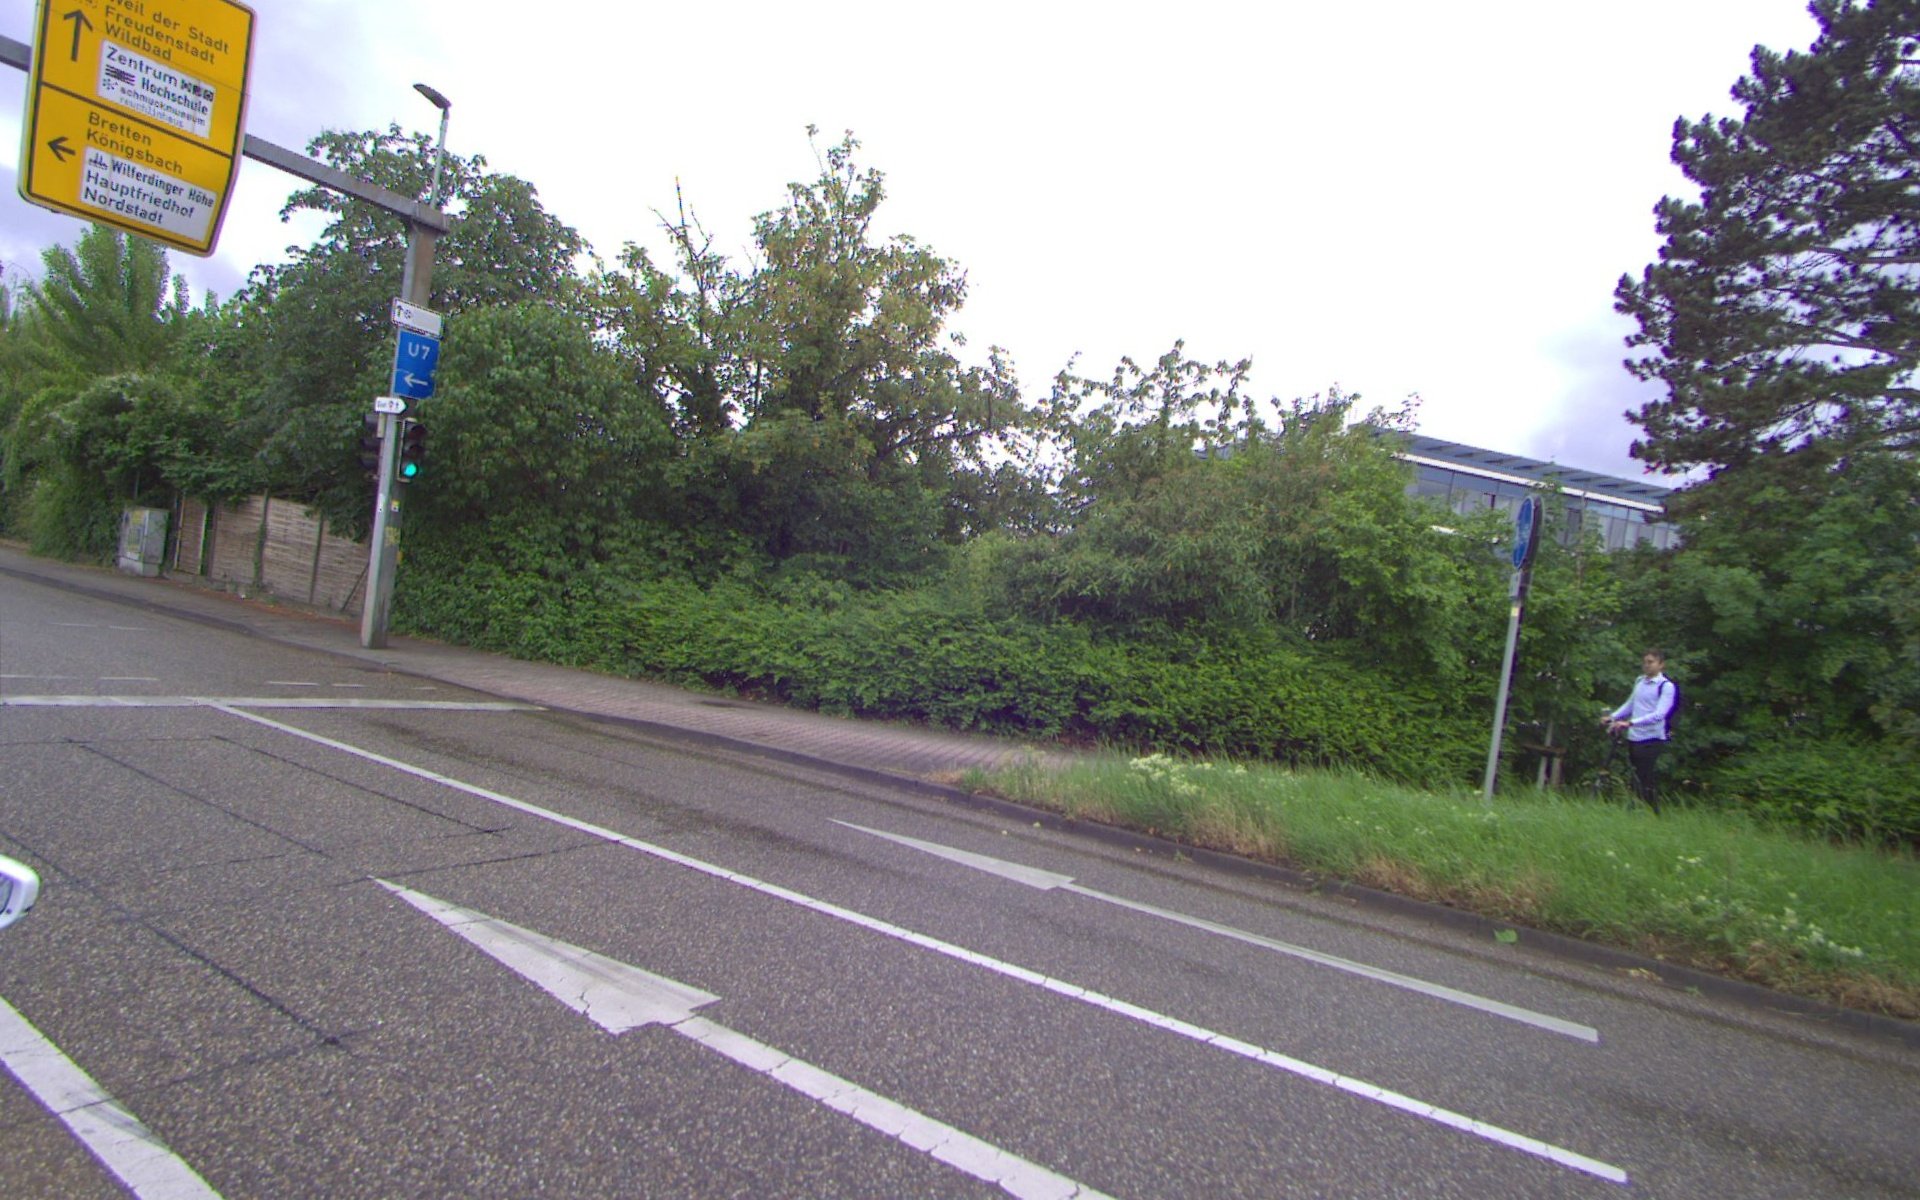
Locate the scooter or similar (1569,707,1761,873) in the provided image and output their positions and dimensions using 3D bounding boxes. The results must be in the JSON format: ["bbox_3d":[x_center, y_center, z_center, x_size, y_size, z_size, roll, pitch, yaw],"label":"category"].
[{"bbox_3d":[6.999,1.861,10.051,1.359,1.378,0.462,7,1,20],"label":"scooter or similar"}]

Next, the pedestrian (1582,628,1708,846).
[{"bbox_3d":[6.870,1.344,10.133,0.704,2.027,0.657,7,1,20],"label":"pedestrian"}]
